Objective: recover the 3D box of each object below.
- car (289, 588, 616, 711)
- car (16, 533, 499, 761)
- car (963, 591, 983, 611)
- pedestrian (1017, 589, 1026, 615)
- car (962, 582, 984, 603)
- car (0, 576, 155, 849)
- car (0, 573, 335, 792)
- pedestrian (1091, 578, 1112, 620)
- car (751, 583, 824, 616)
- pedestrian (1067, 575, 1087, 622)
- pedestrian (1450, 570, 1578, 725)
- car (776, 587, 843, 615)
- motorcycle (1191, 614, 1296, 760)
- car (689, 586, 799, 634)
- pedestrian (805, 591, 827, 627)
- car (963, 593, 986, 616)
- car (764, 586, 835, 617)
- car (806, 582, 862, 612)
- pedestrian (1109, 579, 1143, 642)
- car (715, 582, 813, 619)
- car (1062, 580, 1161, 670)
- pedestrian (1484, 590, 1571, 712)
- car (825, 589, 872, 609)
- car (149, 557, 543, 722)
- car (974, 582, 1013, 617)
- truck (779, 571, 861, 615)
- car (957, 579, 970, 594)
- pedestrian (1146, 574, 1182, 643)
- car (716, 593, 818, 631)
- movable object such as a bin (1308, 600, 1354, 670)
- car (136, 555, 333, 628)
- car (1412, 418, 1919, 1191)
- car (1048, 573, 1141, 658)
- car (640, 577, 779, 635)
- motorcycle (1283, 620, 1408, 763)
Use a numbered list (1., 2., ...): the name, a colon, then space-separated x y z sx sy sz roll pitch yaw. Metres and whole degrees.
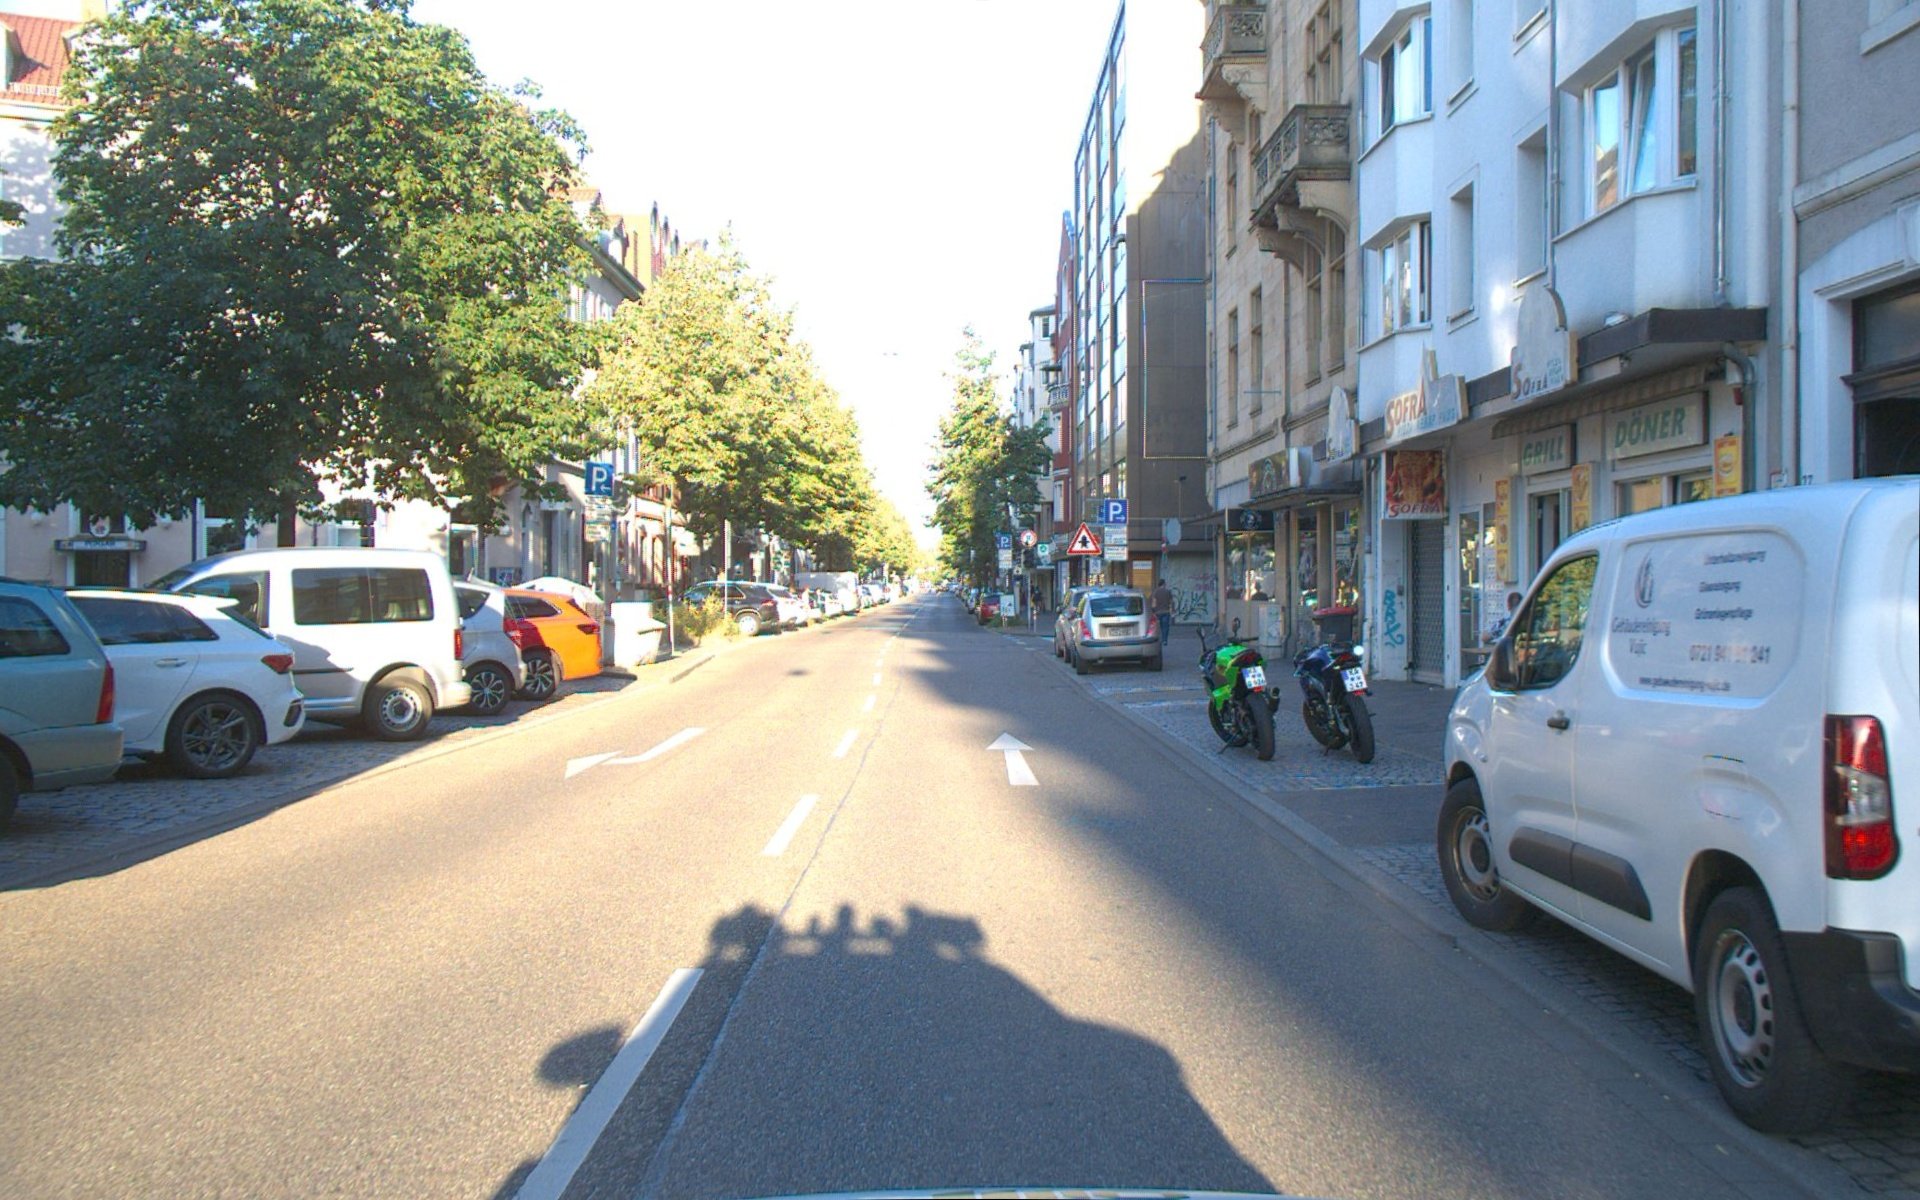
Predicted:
1. car: -6.900 0.604 22.540 3.945 1.511 1.980 0 1 -30
2. car: -6.666 0.382 15.853 3.957 1.911 1.847 0 1 -37
3. car: 0.887 0.088 111.258 1.182 1.323 2.659 1 0 -3
4. pedestrian: 3.930 0.148 105.687 0.523 1.650 0.534 1 1 0
5. car: 0.828 -0.473 103.973 1.182 1.323 2.659 1 0 -3
6. car: -6.780 0.607 9.012 3.967 1.493 1.854 0 1 -43
7. car: -6.977 0.559 12.351 3.961 1.518 1.824 1 0 -39
8. pedestrian: 5.816 -0.041 67.960 0.750 1.718 0.786 -1 1 -3
9. car: -9.098 -0.024 87.636 3.664 1.671 2.000 1 0 -1
10. pedestrian: 4.795 -0.059 67.958 0.700 1.898 0.679 -2 1 -4
11. pedestrian: 5.627 0.463 16.849 0.936 1.512 0.992 1 1 -1
12. car: -8.679 0.055 95.442 3.664 1.475 2.000 1 0 -1
13. motorcycle: 2.654 0.776 15.691 0.576 1.221 2.210 -1 1 -1
14. car: -8.119 0.364 62.403 3.909 1.738 1.833 1 1 -1
15. pedestrian: -6.950 0.444 79.799 0.717 1.712 0.746 1 0 -41
16. car: 0.877 0.273 101.033 1.182 1.323 2.659 1 0 -3
17. car: -8.732 0.066 90.388 3.664 1.624 2.000 1 0 -1
18. car: -8.556 -0.202 112.480 3.664 1.891 2.000 1 0 -1
19. pedestrian: 4.466 0.266 44.508 0.740 1.669 1.259 1 1 -1
20. car: -9.194 0.033 77.851 4.337 1.627 2.000 1 0 -1
21. car: 2.921 0.440 32.489 1.645 1.588 4.001 -2 1 2
22. pedestrian: 6.120 0.538 17.813 0.727 1.241 0.790 -2 2 29
23. car: -9.057 -0.094 134.631 3.664 1.519 2.000 1 0 -1
24. car: -7.043 0.428 19.140 3.957 1.725 1.727 1 0 -37
25. car: 1.588 -0.033 79.287 1.545 1.569 3.394 -2 0 -3
26. truck: -8.587 -0.441 101.768 4.841 2.661 2.000 0 0 -1
27. car: 0.380 -1.464 182.024 1.283 1.628 2.659 1 0 -3
28. pedestrian: 5.439 0.217 44.145 0.740 1.798 1.222 1 1 -1
29. car: -8.191 0.513 70.387 4.090 1.533 2.000 1 0 -1
30. movable object such as a bin: 6.002 0.564 26.743 0.583 1.103 0.664 1 1 0
31. car: -17.914 -0.227 40.887 4.365 1.706 1.943 0 1 -27
32. car: 3.108 0.474 6.144 1.675 1.867 4.306 1 1 0
33. car: 2.976 0.300 37.202 1.662 1.800 3.999 0 1 -1
34. car: -8.331 0.187 55.307 4.359 1.867 2.033 1 0 -1
35. motorcycle: 3.461 0.786 15.026 0.576 1.143 2.210 0 1 -1
